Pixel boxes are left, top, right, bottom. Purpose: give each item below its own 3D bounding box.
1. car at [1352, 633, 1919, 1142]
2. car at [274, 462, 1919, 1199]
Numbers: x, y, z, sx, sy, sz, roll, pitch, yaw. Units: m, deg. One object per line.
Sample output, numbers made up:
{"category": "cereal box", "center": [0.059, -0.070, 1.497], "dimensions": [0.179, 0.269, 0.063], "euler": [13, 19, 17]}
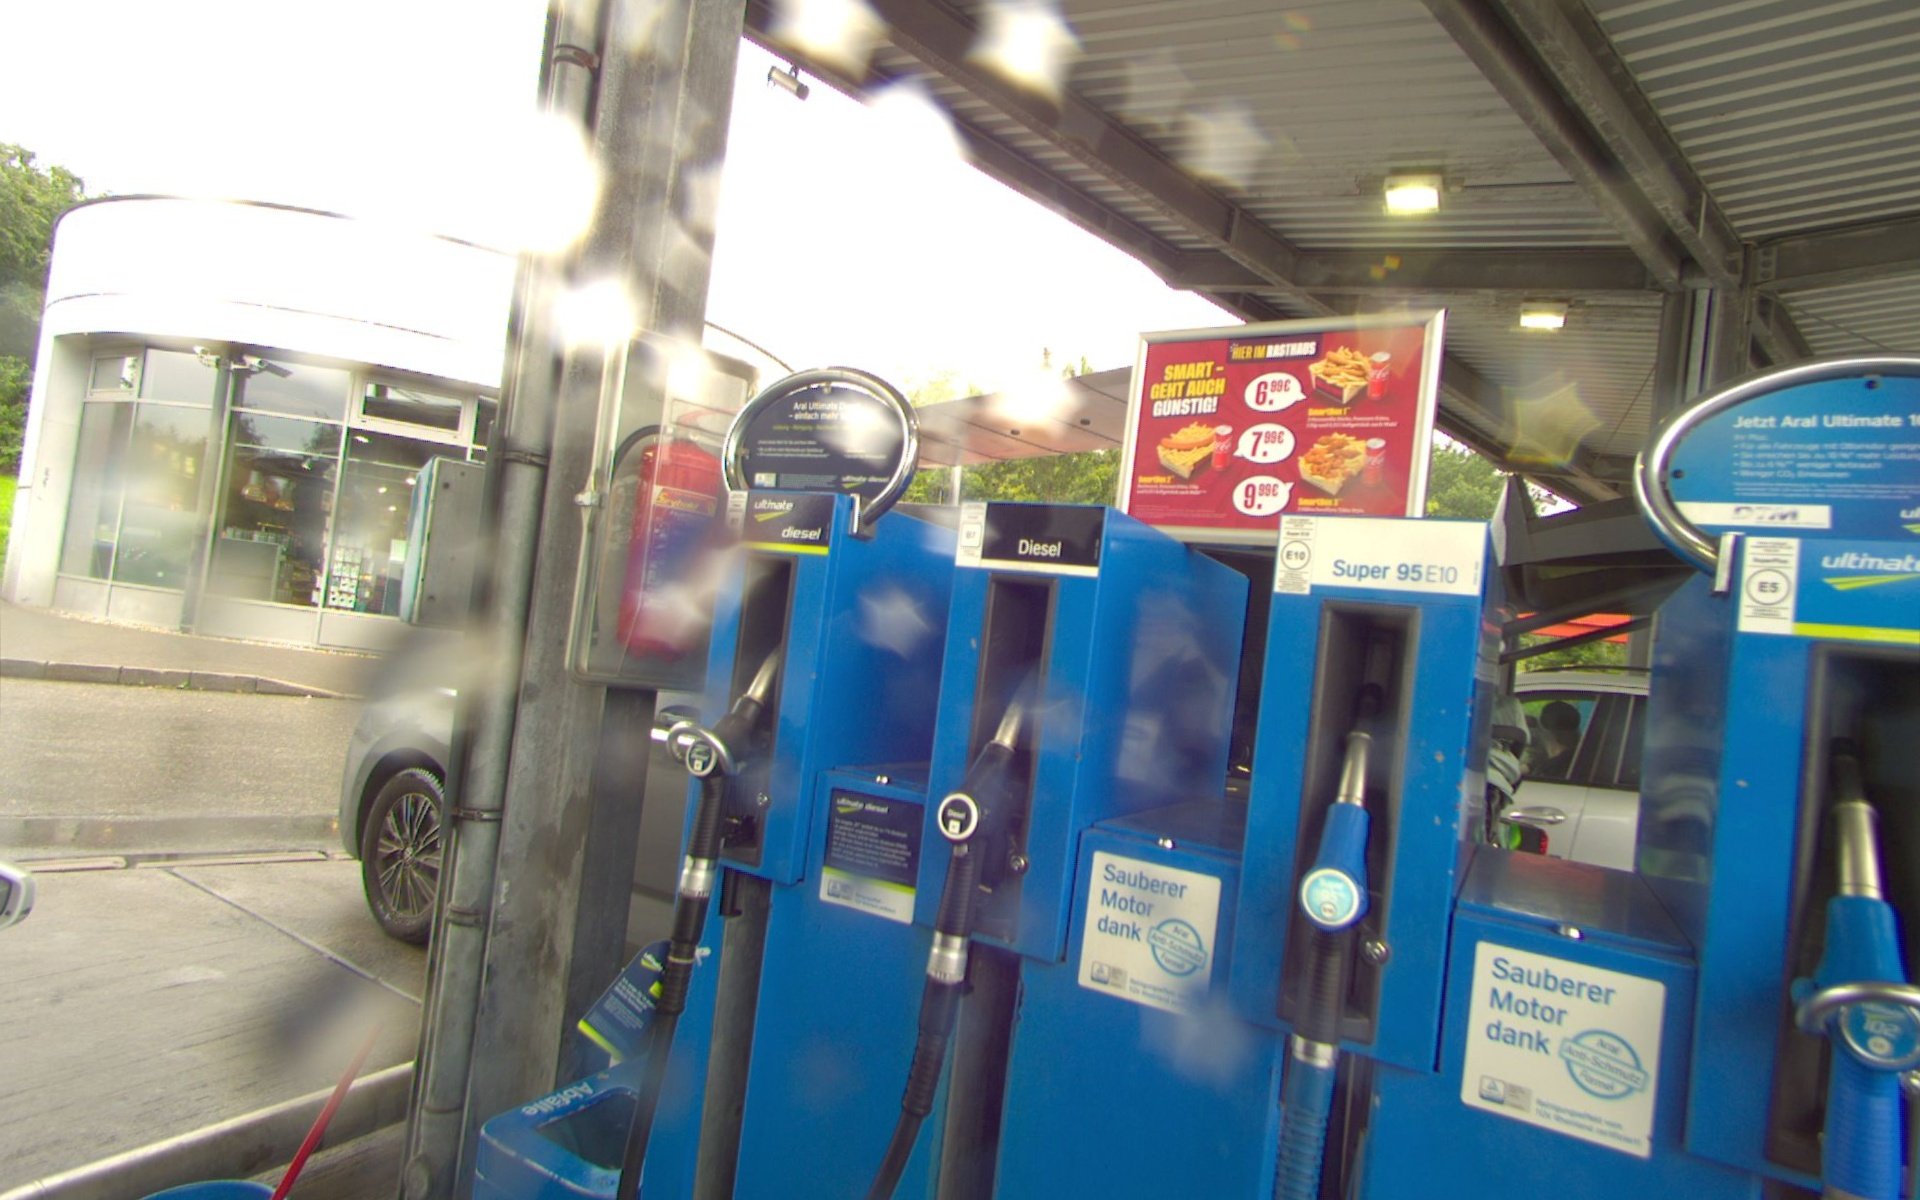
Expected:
{"category": "car", "center": [4.491, 1.373, 4.818], "dimensions": [4.464, 1.819, 1.865], "euler": [6, -2, 32]}
{"category": "car", "center": [-0.146, 0.648, 3.675], "dimensions": [5.055, 1.819, 1.865], "euler": [6, -2, 32]}
